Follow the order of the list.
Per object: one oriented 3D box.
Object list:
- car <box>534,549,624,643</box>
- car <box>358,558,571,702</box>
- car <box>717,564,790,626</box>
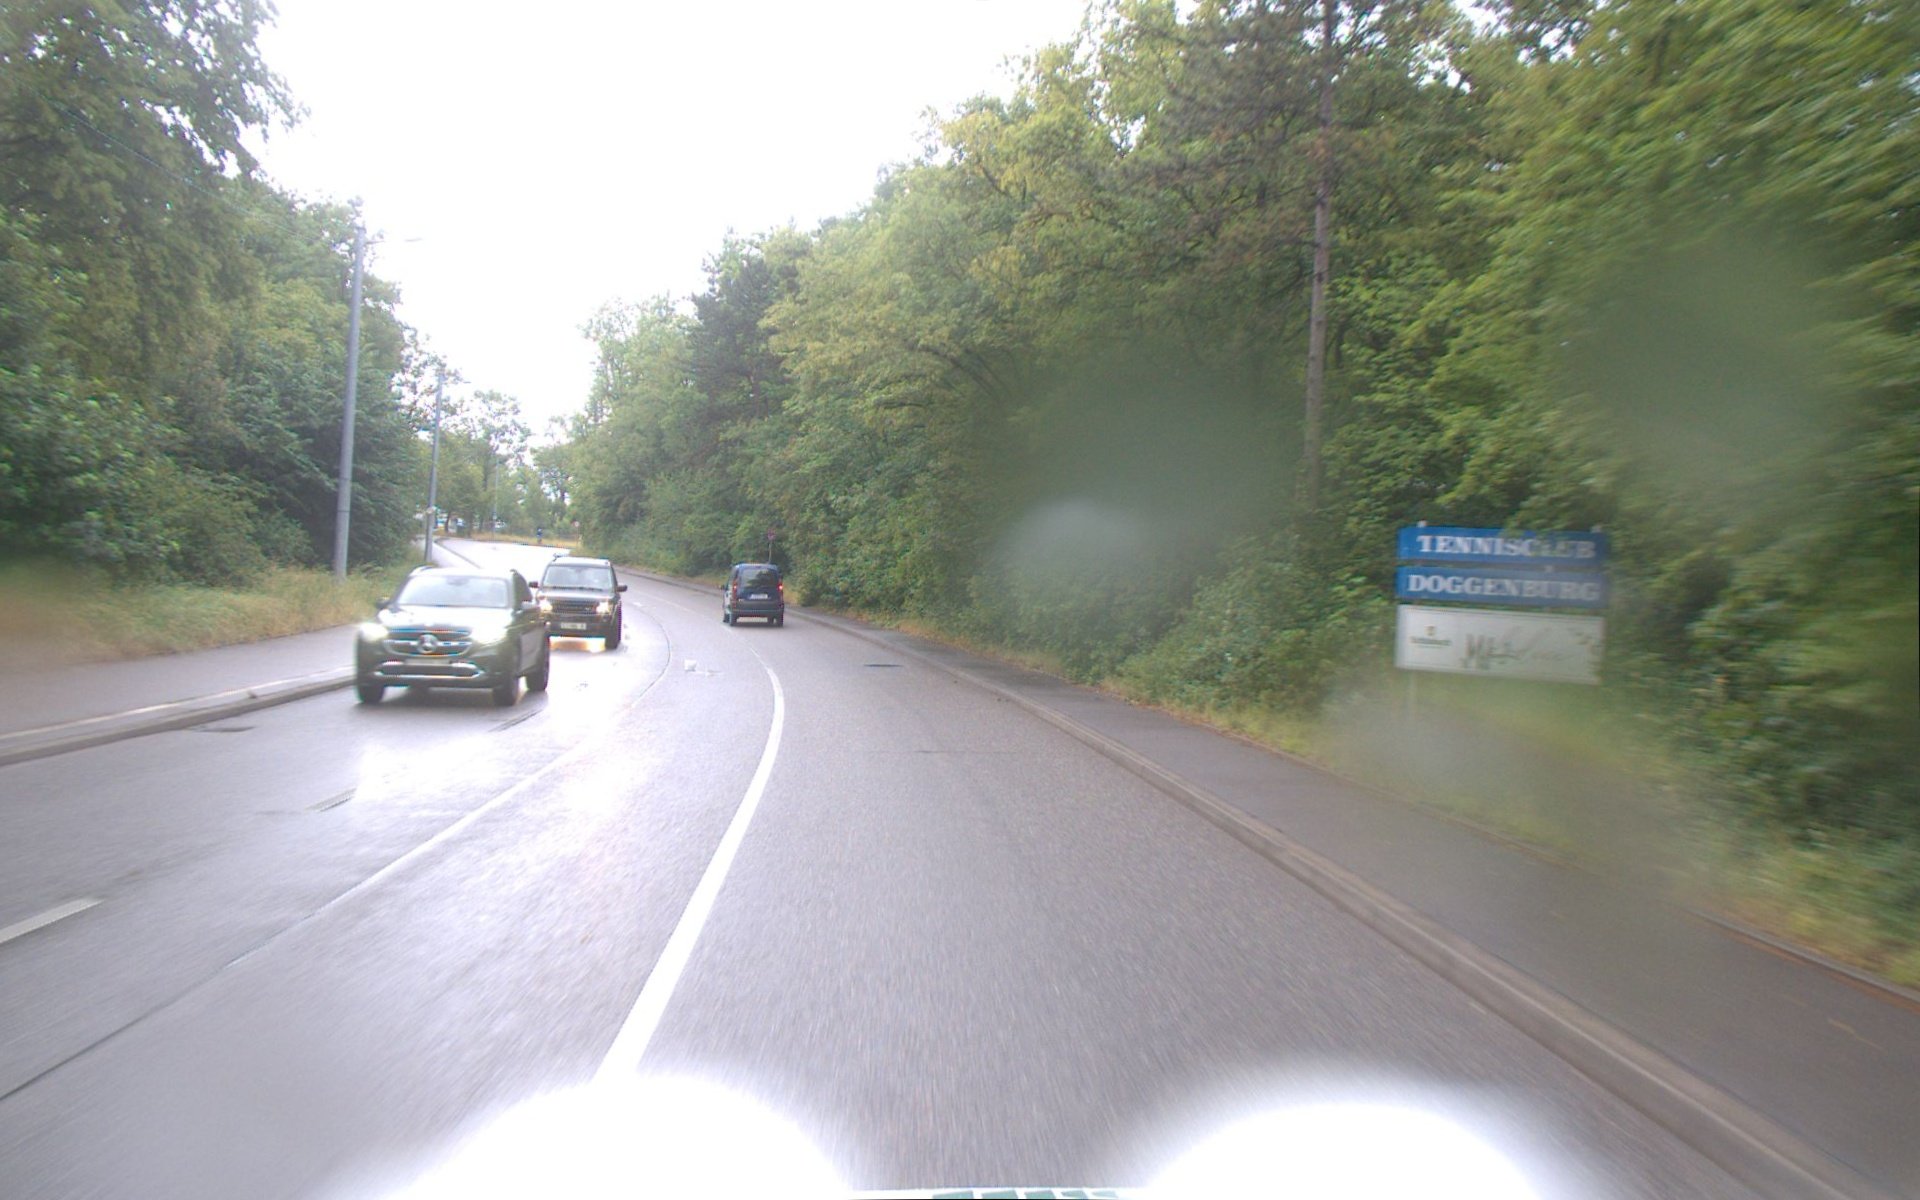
[{"bbox_3d":[-8.659,-0.163,37.343,1.797,1.874,4.694,-1,3,-15],"label":"car"},{"bbox_3d":[-6.290,0.330,21.495,1.774,1.622,4.512,2,0,-6],"label":"car"},{"bbox_3d":[-6.375,-0.160,50.775,1.796,1.825,3.986,1,0,-13],"label":"car"}]
